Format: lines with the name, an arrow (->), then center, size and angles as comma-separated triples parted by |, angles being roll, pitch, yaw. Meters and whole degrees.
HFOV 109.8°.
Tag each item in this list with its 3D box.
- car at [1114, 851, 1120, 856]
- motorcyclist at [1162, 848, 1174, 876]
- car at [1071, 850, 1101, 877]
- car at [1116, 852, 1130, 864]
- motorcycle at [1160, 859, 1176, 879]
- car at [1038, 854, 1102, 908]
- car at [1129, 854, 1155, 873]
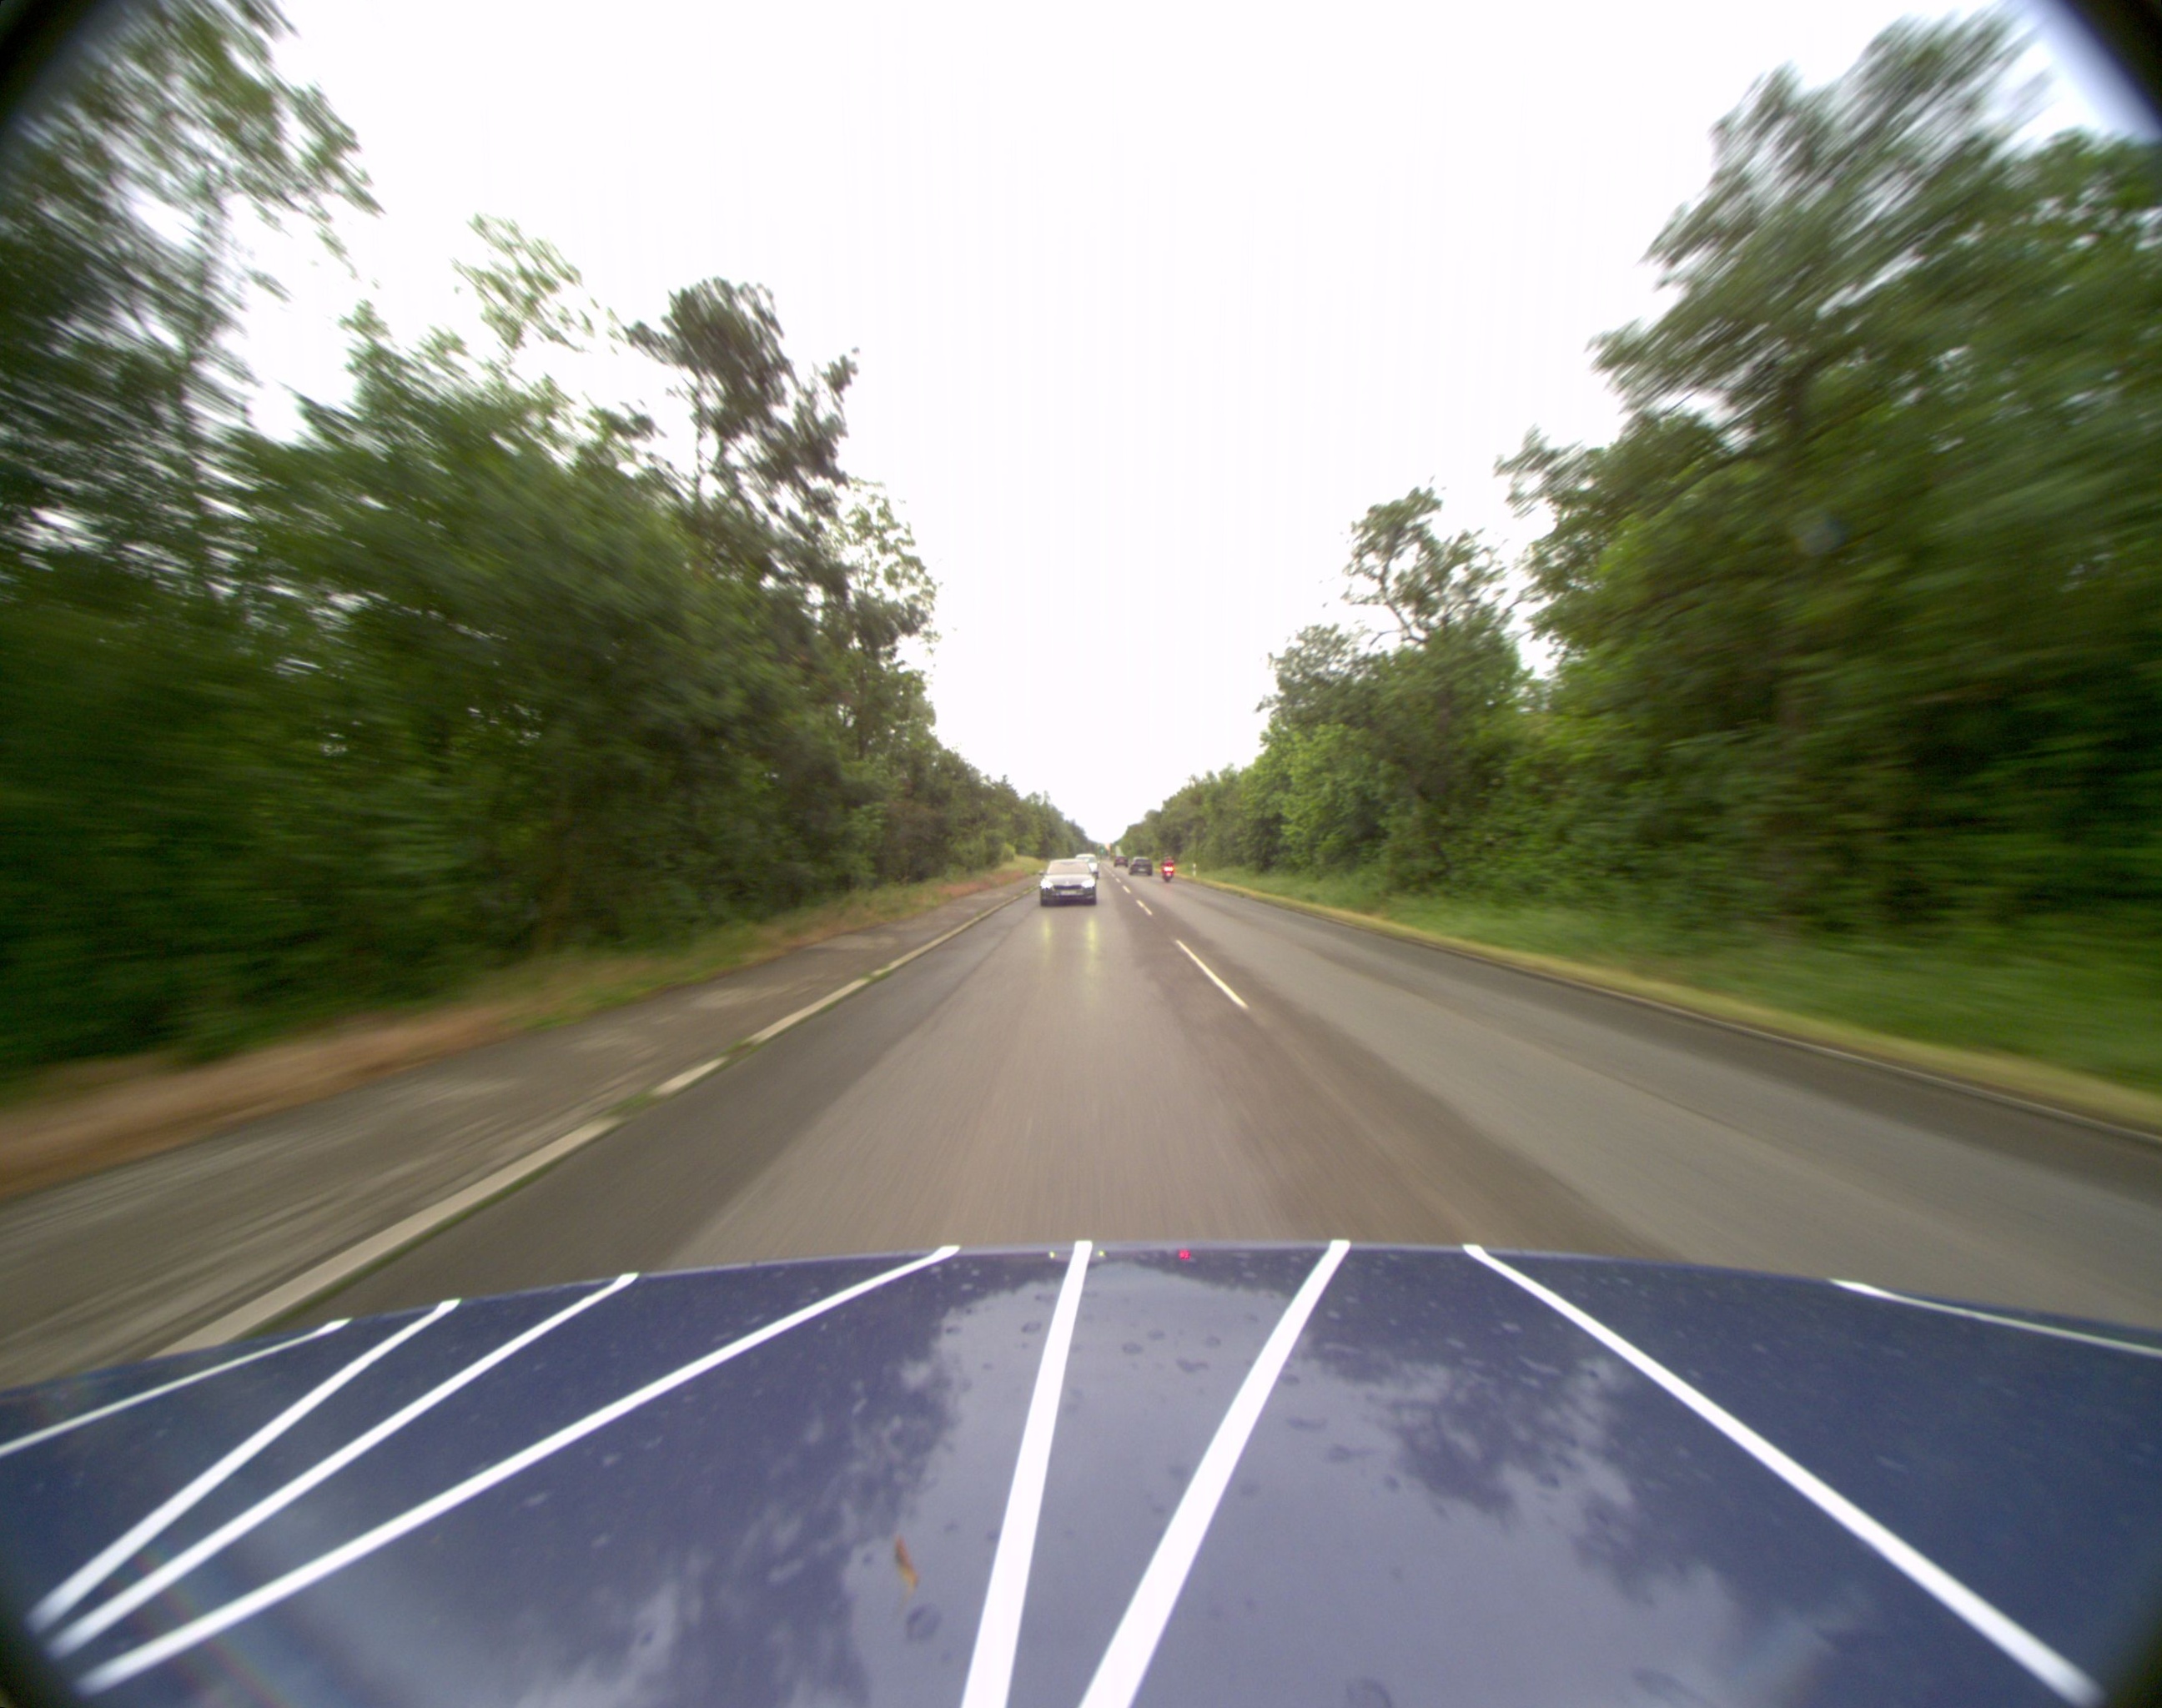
car -> 11.282, -0.135, 240.946 | 1.793, 1.465, 3.623 | 1, 1, 1
motorcyclist -> 5.193, 0.458, 45.364 | 0.697, 1.644, 0.667 | 0, 1, 1
car -> 0.347, 0.591, 50.970 | 1.915, 1.691, 3.913 | -2, 1, 1
car -> 5.686, 0.523, 102.932 | 1.793, 1.465, 3.623 | 1, 1, 1
motorcycle -> 5.201, 0.884, 45.610 | 0.667, 1.191, 2.101 | 1, 0, 0
car -> -0.306, 0.814, 25.384 | 1.915, 1.543, 4.354 | -2, 1, 1
car -> 4.878, 0.738, 60.857 | 1.793, 1.465, 3.623 | 1, 1, 1
